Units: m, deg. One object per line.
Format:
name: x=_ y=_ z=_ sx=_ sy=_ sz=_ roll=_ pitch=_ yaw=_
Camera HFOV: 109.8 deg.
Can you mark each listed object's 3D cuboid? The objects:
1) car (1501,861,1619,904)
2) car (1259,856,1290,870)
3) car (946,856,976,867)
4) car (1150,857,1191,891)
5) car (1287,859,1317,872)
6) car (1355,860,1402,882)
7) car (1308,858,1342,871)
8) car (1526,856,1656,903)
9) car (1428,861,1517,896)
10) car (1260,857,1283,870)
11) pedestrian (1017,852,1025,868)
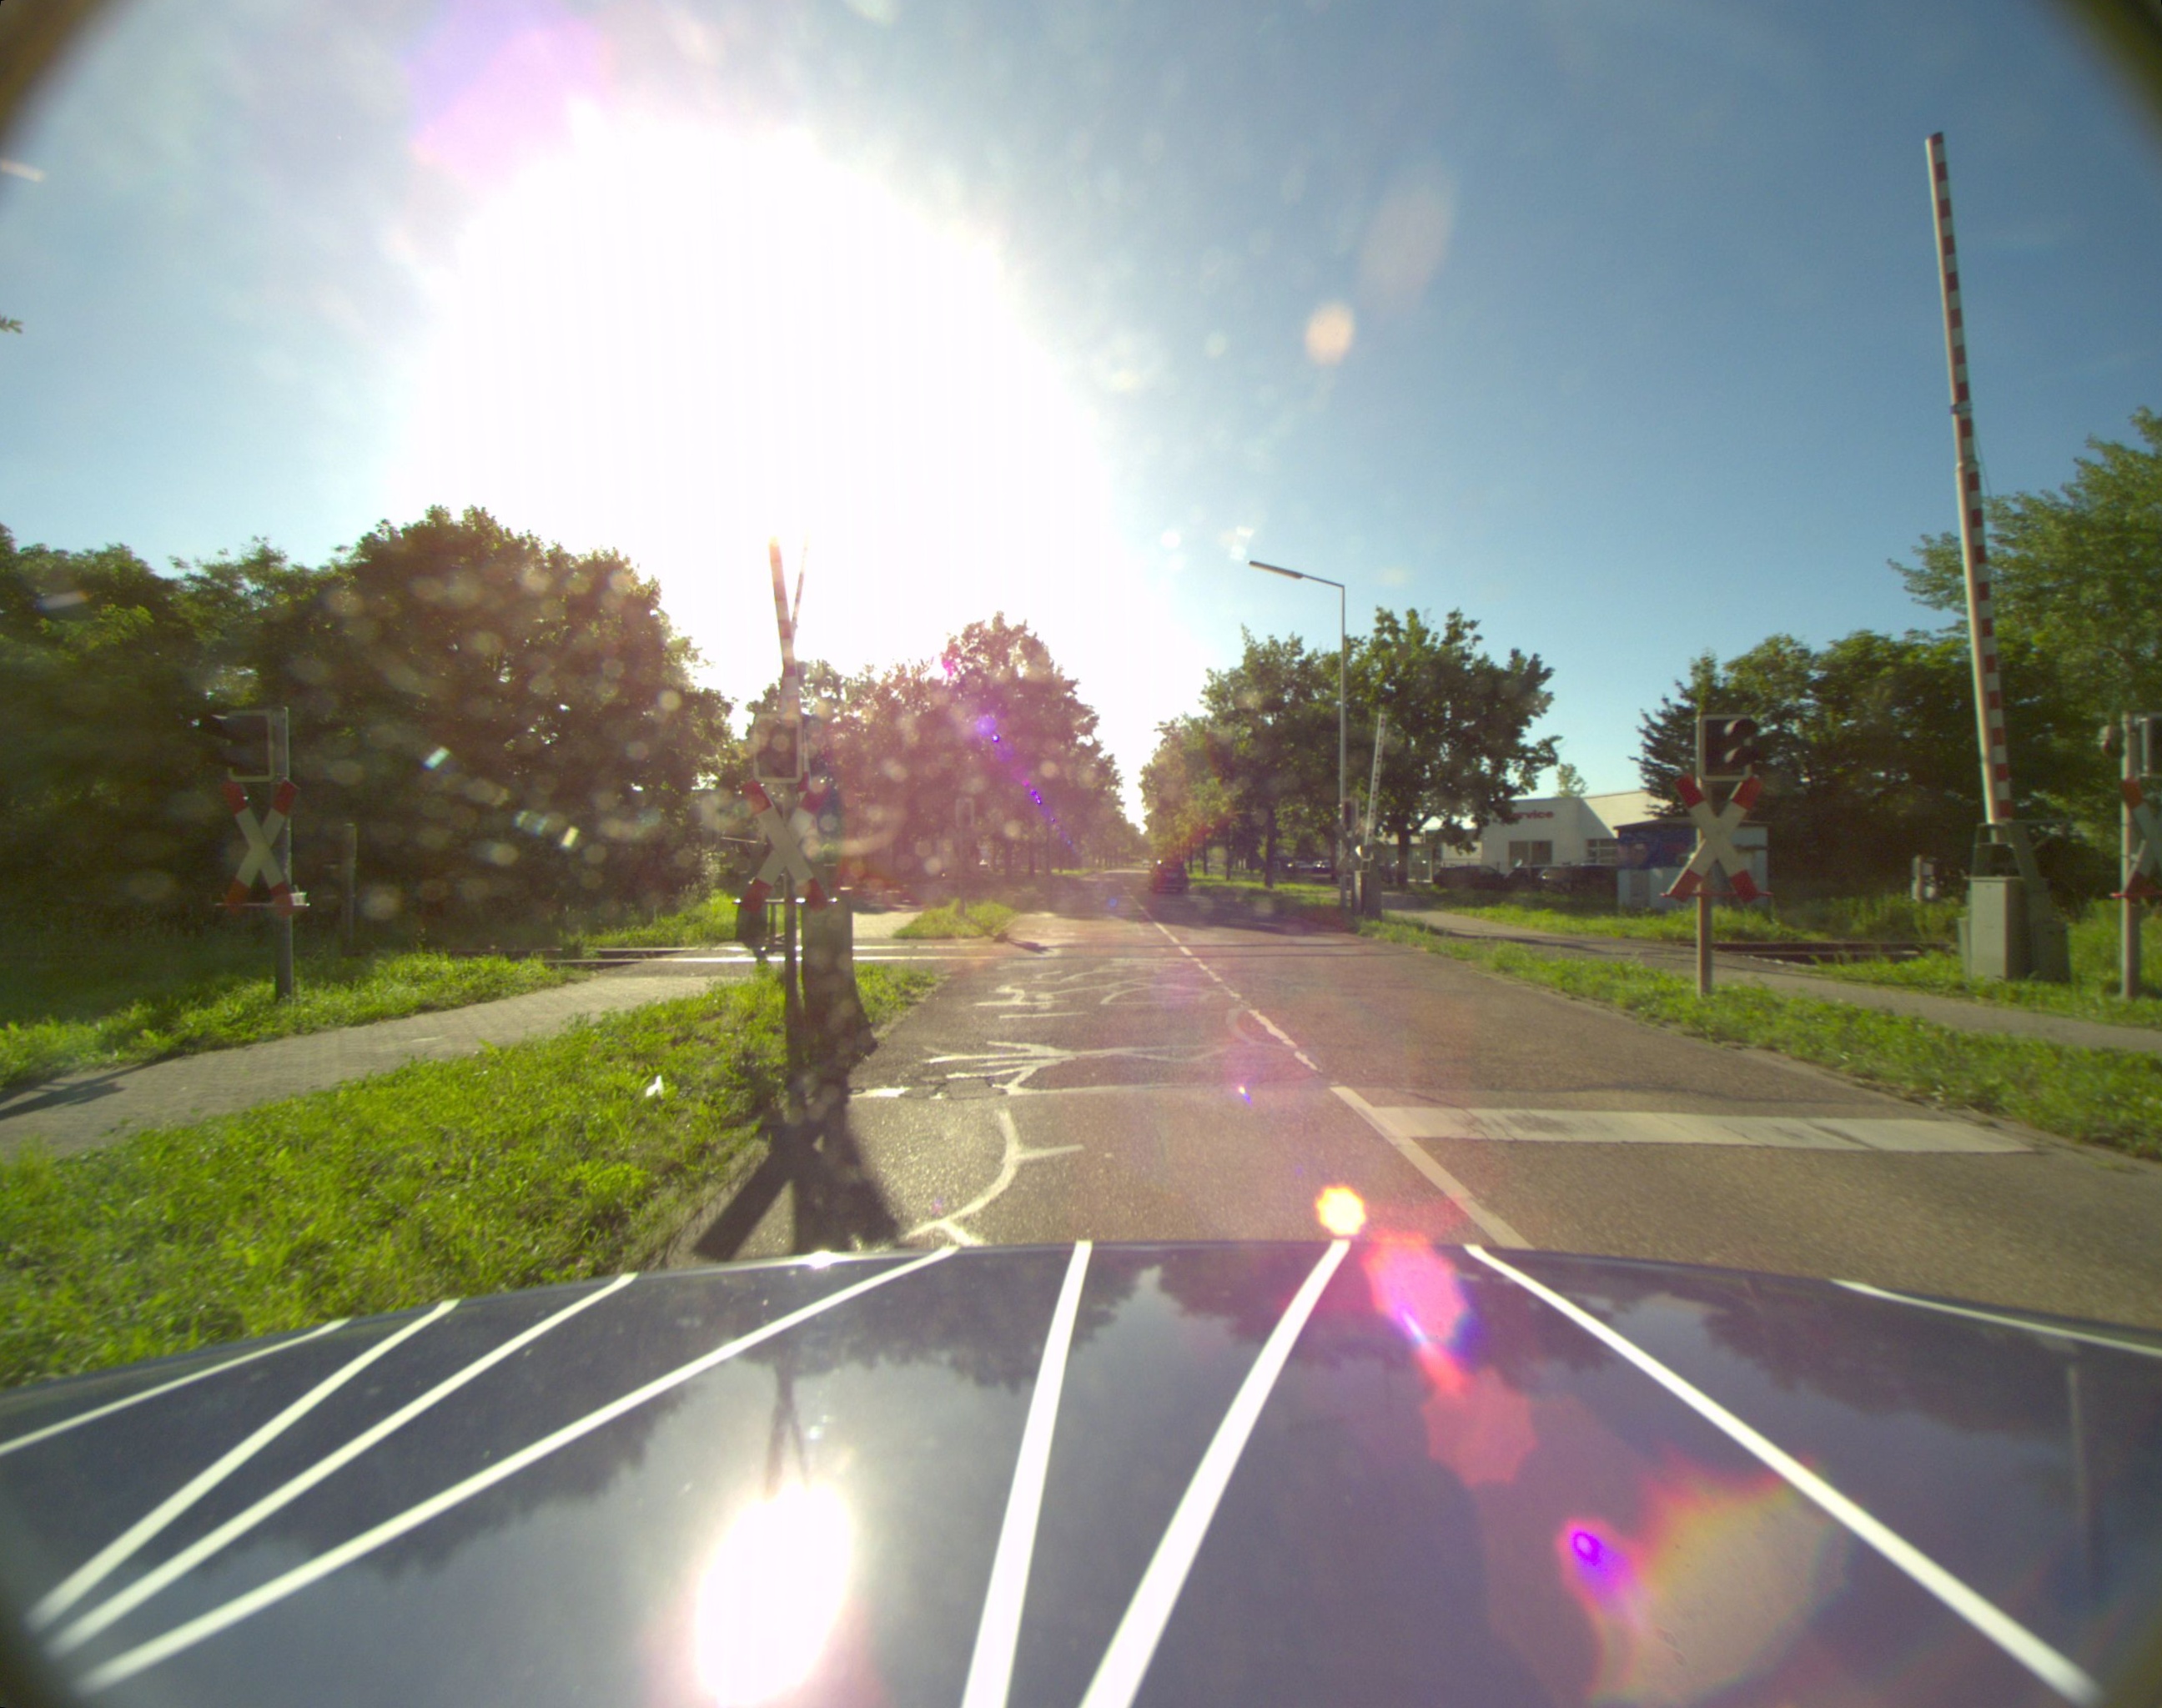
car: x=22.289 y=1.308 z=35.450 sx=4.201 sy=1.791 sz=2.000 roll=-2 pitch=0 yaw=-1
car: x=27.406 y=1.273 z=107.848 sx=3.994 sy=1.732 sz=2.001 roll=-2 pitch=0 yaw=8
car: x=-21.765 y=1.298 z=138.160 sx=5.074 sy=1.947 sz=1.895 roll=1 pitch=0 yaw=2
car: x=4.070 y=0.879 z=35.073 sx=1.569 sy=1.496 sz=4.000 roll=0 pitch=0 yaw=2
car: x=29.352 y=1.502 z=100.918 sx=2.000 sy=1.665 sz=4.495 roll=-2 pitch=0 yaw=-11
car: x=24.131 y=1.327 z=61.821 sx=1.998 sy=1.588 sz=5.016 roll=-2 pitch=0 yaw=3
car: x=32.342 y=1.378 z=100.846 sx=2.000 sy=1.707 sz=5.255 roll=-2 pitch=0 yaw=-9
car: x=21.822 y=1.072 z=32.616 sx=4.201 sy=1.791 sz=2.000 roll=-2 pitch=0 yaw=-1
car: x=22.254 y=1.375 z=43.244 sx=3.998 sy=1.791 sz=1.999 roll=-2 pitch=0 yaw=-3
car: x=23.075 y=1.156 z=92.110 sx=2.569 sy=1.461 sz=1.428 roll=0 pitch=0 yaw=21
pedestrian: x=-6.403 y=0.633 z=80.956 sx=0.609 sy=1.621 sz=0.719 roll=2 pitch=0 yaw=5
